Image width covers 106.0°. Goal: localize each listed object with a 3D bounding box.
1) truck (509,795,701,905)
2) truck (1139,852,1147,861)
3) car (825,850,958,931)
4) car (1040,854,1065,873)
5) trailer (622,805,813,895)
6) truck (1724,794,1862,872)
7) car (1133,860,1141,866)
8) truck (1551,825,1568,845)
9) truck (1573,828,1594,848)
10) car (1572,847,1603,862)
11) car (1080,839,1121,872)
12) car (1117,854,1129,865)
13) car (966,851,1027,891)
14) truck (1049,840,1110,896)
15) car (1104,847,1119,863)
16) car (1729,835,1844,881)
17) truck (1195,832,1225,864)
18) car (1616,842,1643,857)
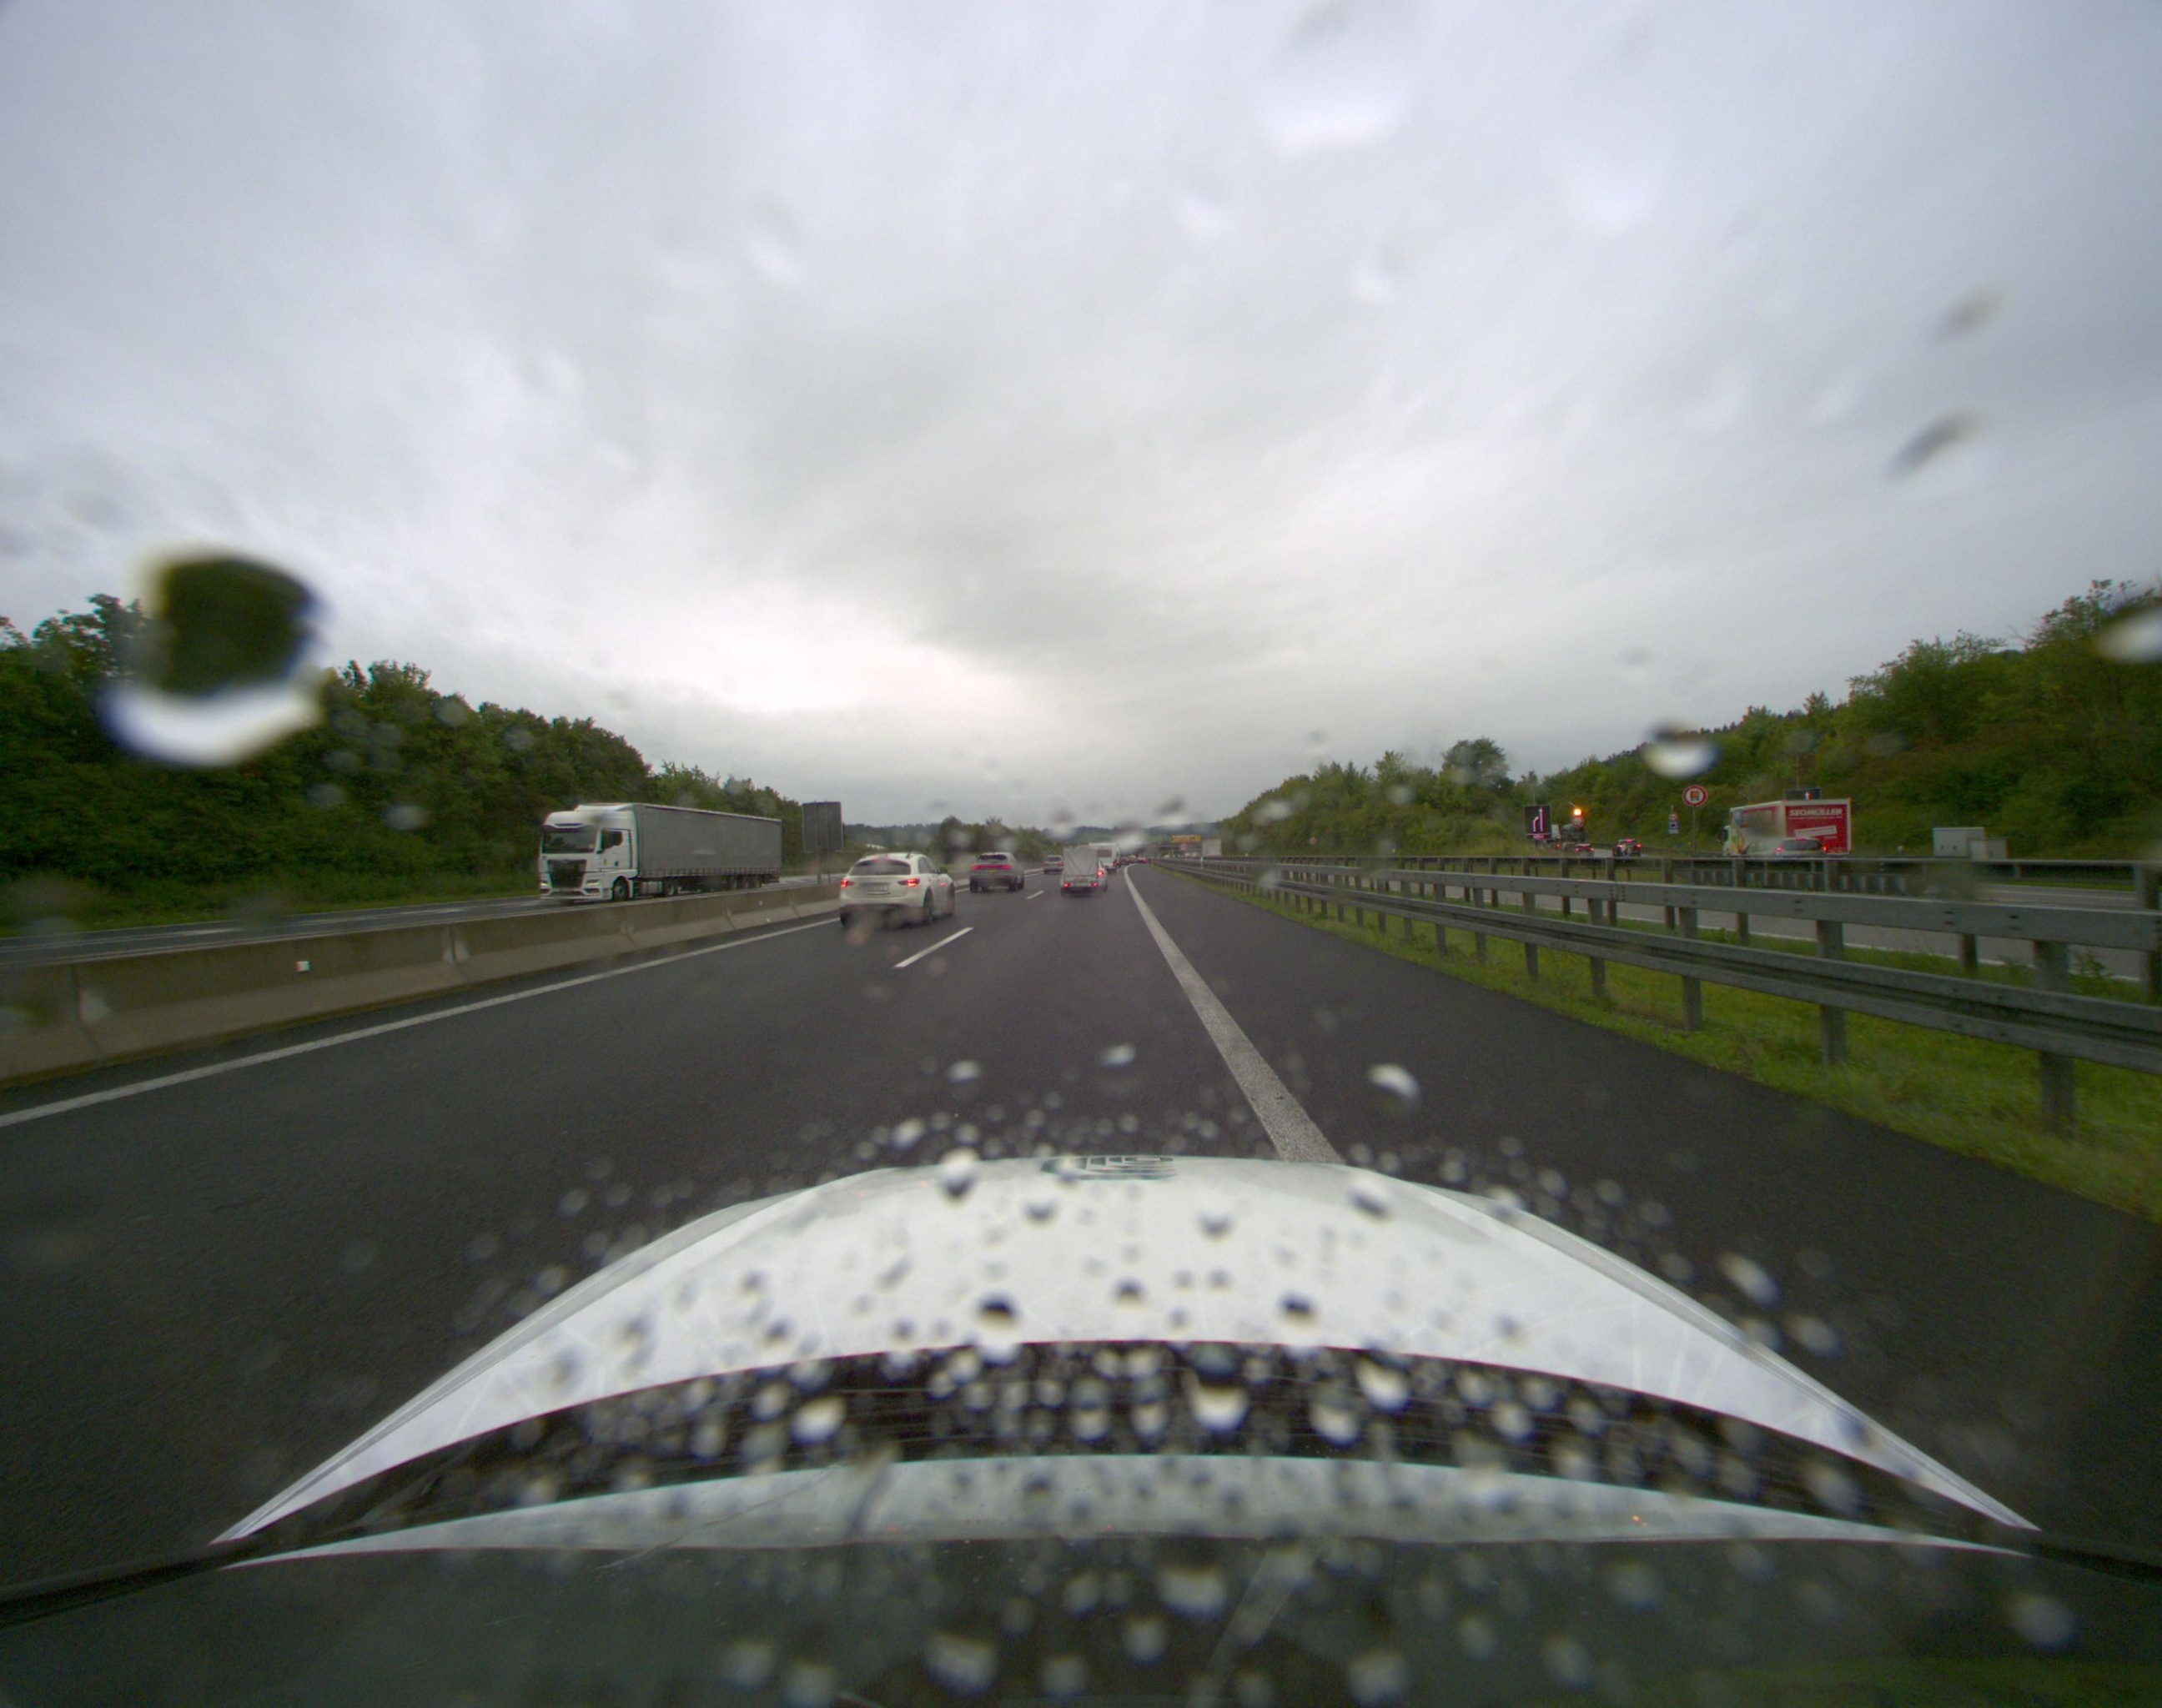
[{"bbox_3d":[-19.773,-0.166,34.549,3.245,4.083,7.450,-1,0,4],"label":"truck"},{"bbox_3d":[19.700,0.804,260.366,2.266,3.082,7.258,-1,-1,6],"label":"truck"},{"bbox_3d":[-4.291,0.774,19.237,1.969,1.639,4.501,-1,0,1],"label":"car"},{"bbox_3d":[-2.469,0.821,71.727,1.893,1.613,4.019,-1,0,2],"label":"car"},{"bbox_3d":[-19.035,-0.182,44.443,3.245,4.083,13.861,-1,0,4],"label":"trailer"},{"bbox_3d":[34.935,-0.934,40.412,2.872,3.395,9.028,-1,0,26],"label":"truck"},{"bbox_3d":[15.949,2.512,231.640,1.983,1.750,4.007,-1,-1,6],"label":"car"},{"bbox_3d":[74.482,-2.947,126.753,2.223,2.878,8.225,-1,0,30],"label":"truck"},{"bbox_3d":[72.126,-2.327,116.887,2.416,2.704,5.604,-2,0,31],"label":"truck"},{"bbox_3d":[51.133,0.037,82.270,1.844,1.447,4.178,-2,0,20],"label":"car"},{"bbox_3d":[1.715,0.151,69.398,3.002,2.616,6.084,-2,0,5],"label":"car"},{"bbox_3d":[7.069,0.948,137.067,1.984,1.750,4.005,-1,-1,5],"label":"car"},{"bbox_3d":[-3.720,0.745,36.666,2.166,1.631,4.501,-1,0,1],"label":"car"},{"bbox_3d":[0.058,0.496,33.123,2.010,1.985,7.219,-1,0,3],"label":"truck"},{"bbox_3d":[4.141,0.160,110.667,1.986,2.036,4.152,0,-1,1],"label":"car"},{"bbox_3d":[27.338,0.145,31.757,1.844,1.659,4.495,-2,0,19],"label":"car"},{"bbox_3d":[21.794,-0.925,138.144,4.074,5.103,10.477,-1,0,5],"label":"truck"},{"bbox_3d":[54.604,-0.434,81.165,1.842,1.447,4.183,-2,0,29],"label":"car"}]
